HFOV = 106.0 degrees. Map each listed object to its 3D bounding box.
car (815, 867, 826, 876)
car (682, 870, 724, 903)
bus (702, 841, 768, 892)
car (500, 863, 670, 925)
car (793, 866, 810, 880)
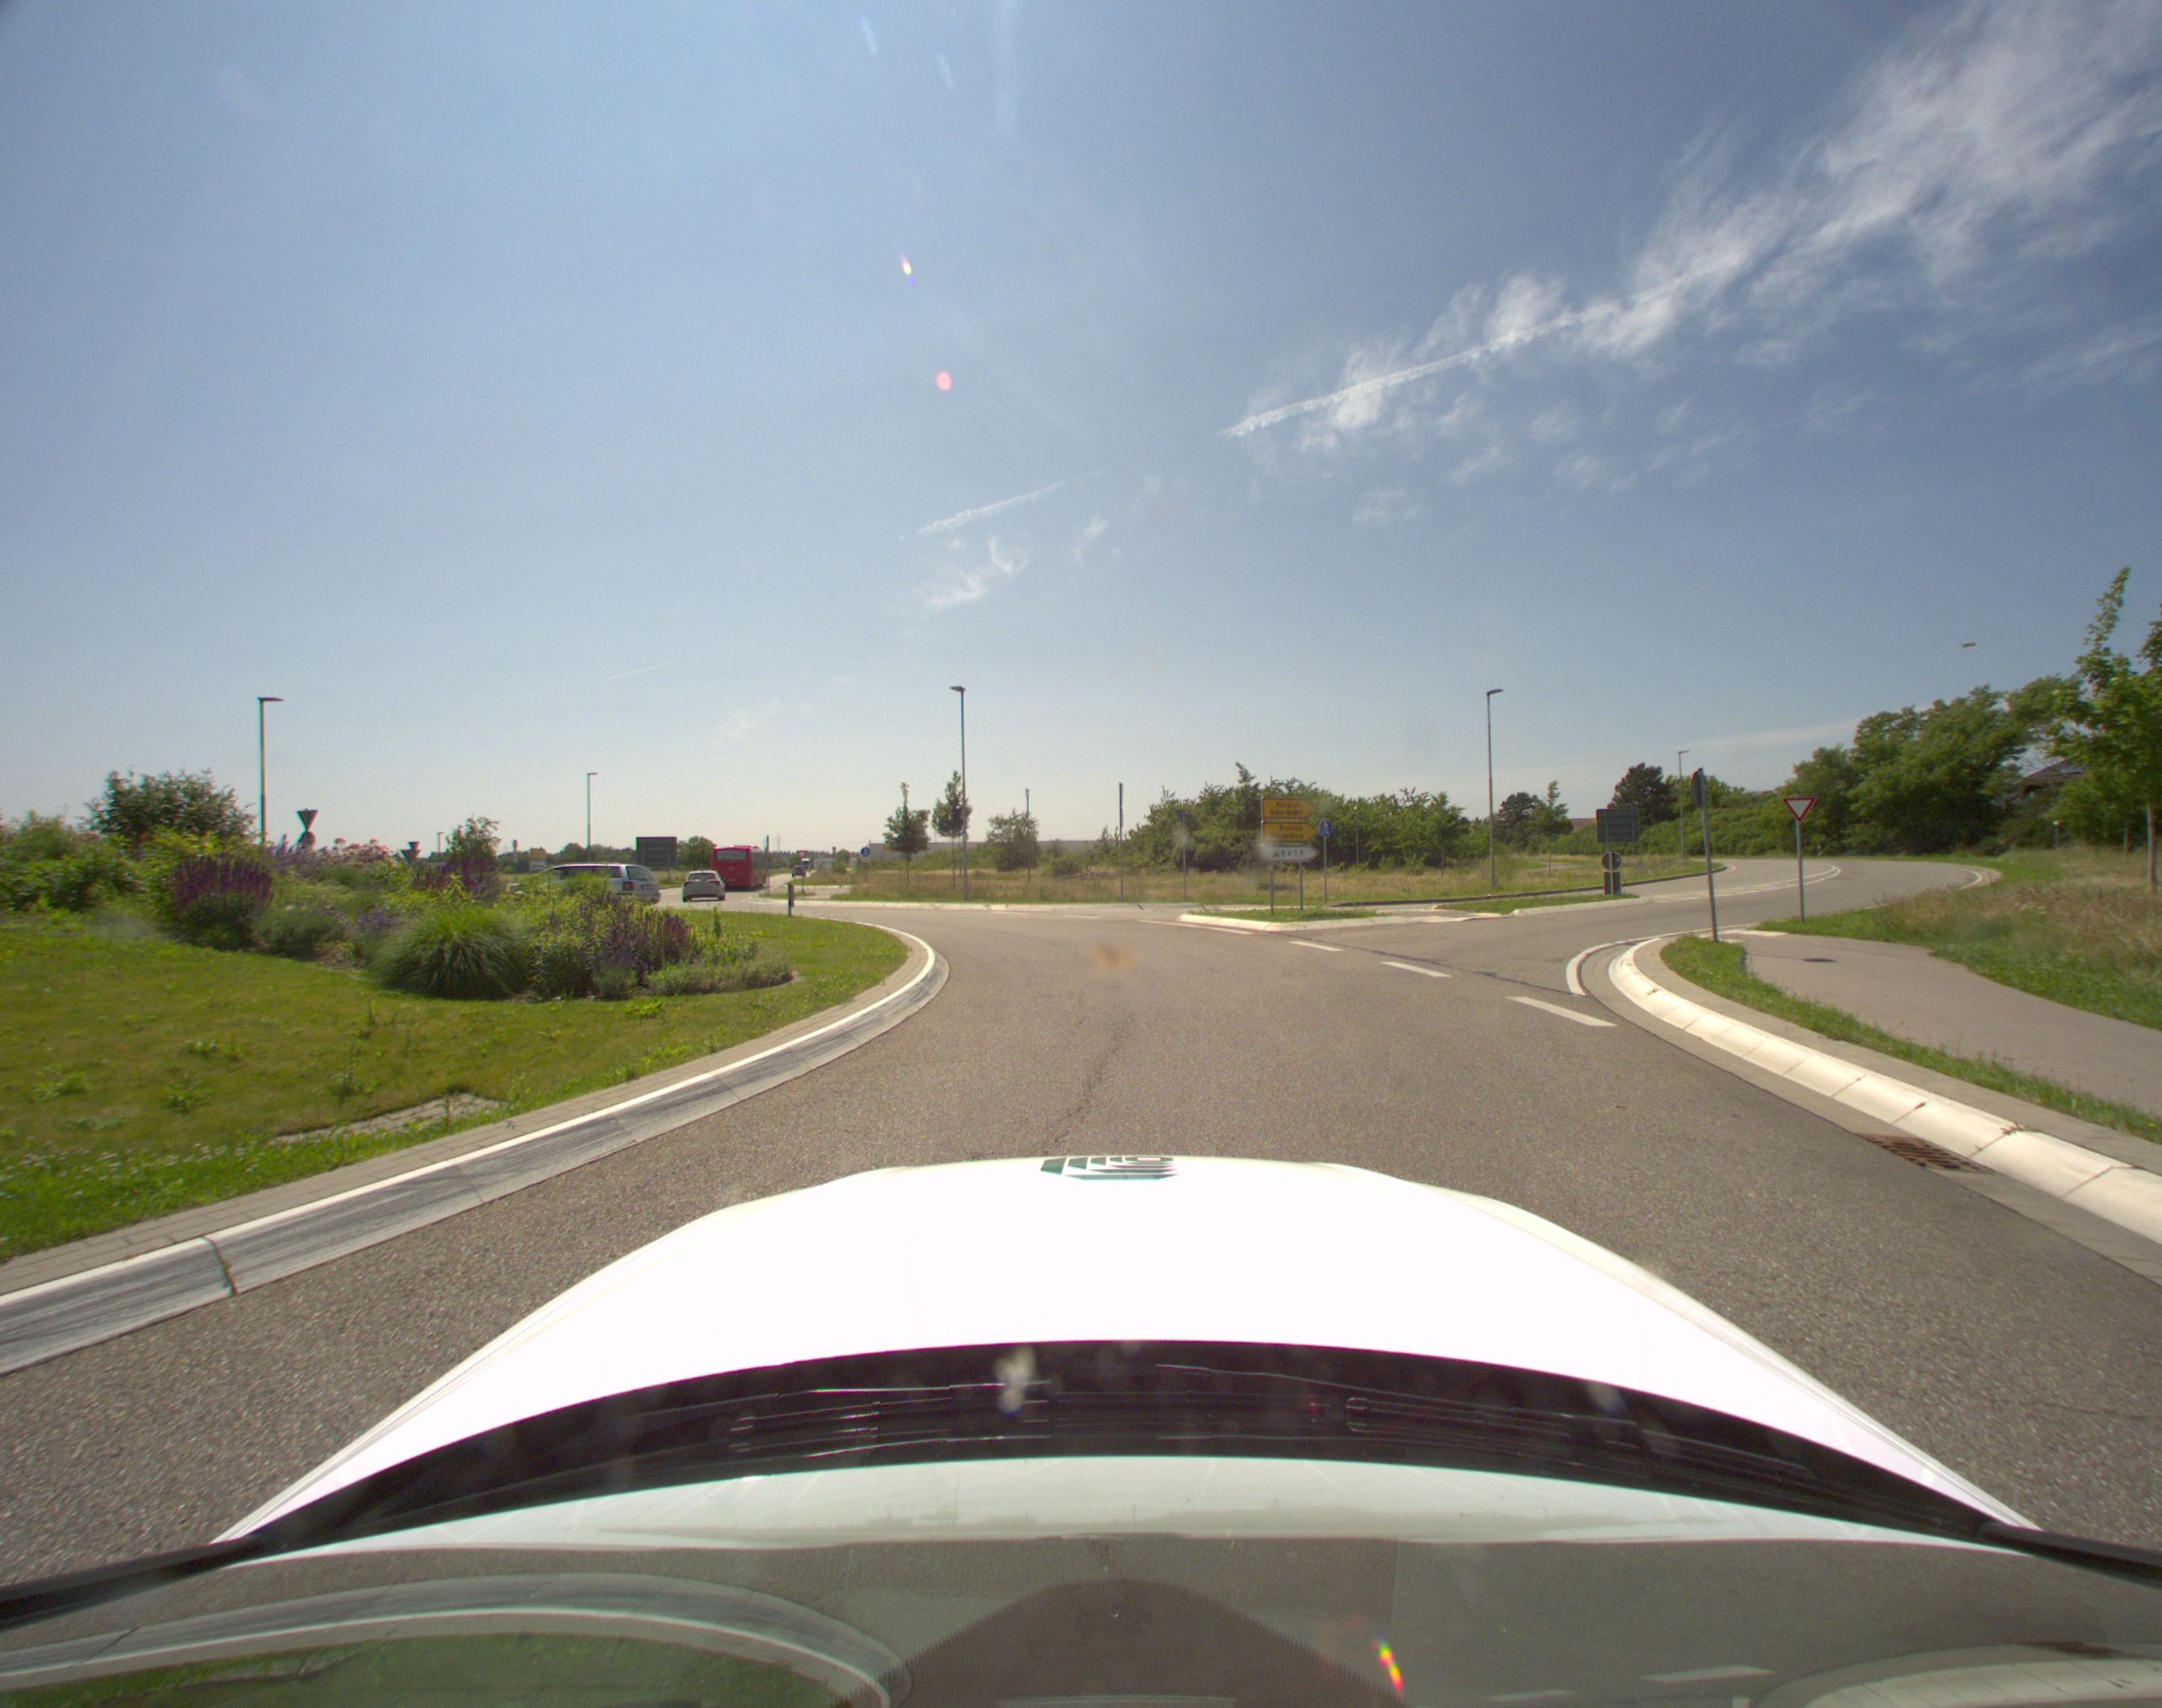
[{"bbox_3d":[-54.414,3.687,170.181,1.999,1.846,4.146,-1,-1,-18],"label":"car"},{"bbox_3d":[-18.121,1.539,39.015,1.732,1.464,3.571,-1,-1,-26],"label":"car"},{"bbox_3d":[-25.088,0.923,59.643,3.312,3.309,11.916,-1,-1,-18],"label":"bus"},{"bbox_3d":[-14.341,1.139,23.628,3.963,1.674,1.783,-1,-1,9],"label":"car"},{"bbox_3d":[-40.270,2.723,117.310,1.997,1.926,3.979,-1,-1,-15],"label":"car"}]
